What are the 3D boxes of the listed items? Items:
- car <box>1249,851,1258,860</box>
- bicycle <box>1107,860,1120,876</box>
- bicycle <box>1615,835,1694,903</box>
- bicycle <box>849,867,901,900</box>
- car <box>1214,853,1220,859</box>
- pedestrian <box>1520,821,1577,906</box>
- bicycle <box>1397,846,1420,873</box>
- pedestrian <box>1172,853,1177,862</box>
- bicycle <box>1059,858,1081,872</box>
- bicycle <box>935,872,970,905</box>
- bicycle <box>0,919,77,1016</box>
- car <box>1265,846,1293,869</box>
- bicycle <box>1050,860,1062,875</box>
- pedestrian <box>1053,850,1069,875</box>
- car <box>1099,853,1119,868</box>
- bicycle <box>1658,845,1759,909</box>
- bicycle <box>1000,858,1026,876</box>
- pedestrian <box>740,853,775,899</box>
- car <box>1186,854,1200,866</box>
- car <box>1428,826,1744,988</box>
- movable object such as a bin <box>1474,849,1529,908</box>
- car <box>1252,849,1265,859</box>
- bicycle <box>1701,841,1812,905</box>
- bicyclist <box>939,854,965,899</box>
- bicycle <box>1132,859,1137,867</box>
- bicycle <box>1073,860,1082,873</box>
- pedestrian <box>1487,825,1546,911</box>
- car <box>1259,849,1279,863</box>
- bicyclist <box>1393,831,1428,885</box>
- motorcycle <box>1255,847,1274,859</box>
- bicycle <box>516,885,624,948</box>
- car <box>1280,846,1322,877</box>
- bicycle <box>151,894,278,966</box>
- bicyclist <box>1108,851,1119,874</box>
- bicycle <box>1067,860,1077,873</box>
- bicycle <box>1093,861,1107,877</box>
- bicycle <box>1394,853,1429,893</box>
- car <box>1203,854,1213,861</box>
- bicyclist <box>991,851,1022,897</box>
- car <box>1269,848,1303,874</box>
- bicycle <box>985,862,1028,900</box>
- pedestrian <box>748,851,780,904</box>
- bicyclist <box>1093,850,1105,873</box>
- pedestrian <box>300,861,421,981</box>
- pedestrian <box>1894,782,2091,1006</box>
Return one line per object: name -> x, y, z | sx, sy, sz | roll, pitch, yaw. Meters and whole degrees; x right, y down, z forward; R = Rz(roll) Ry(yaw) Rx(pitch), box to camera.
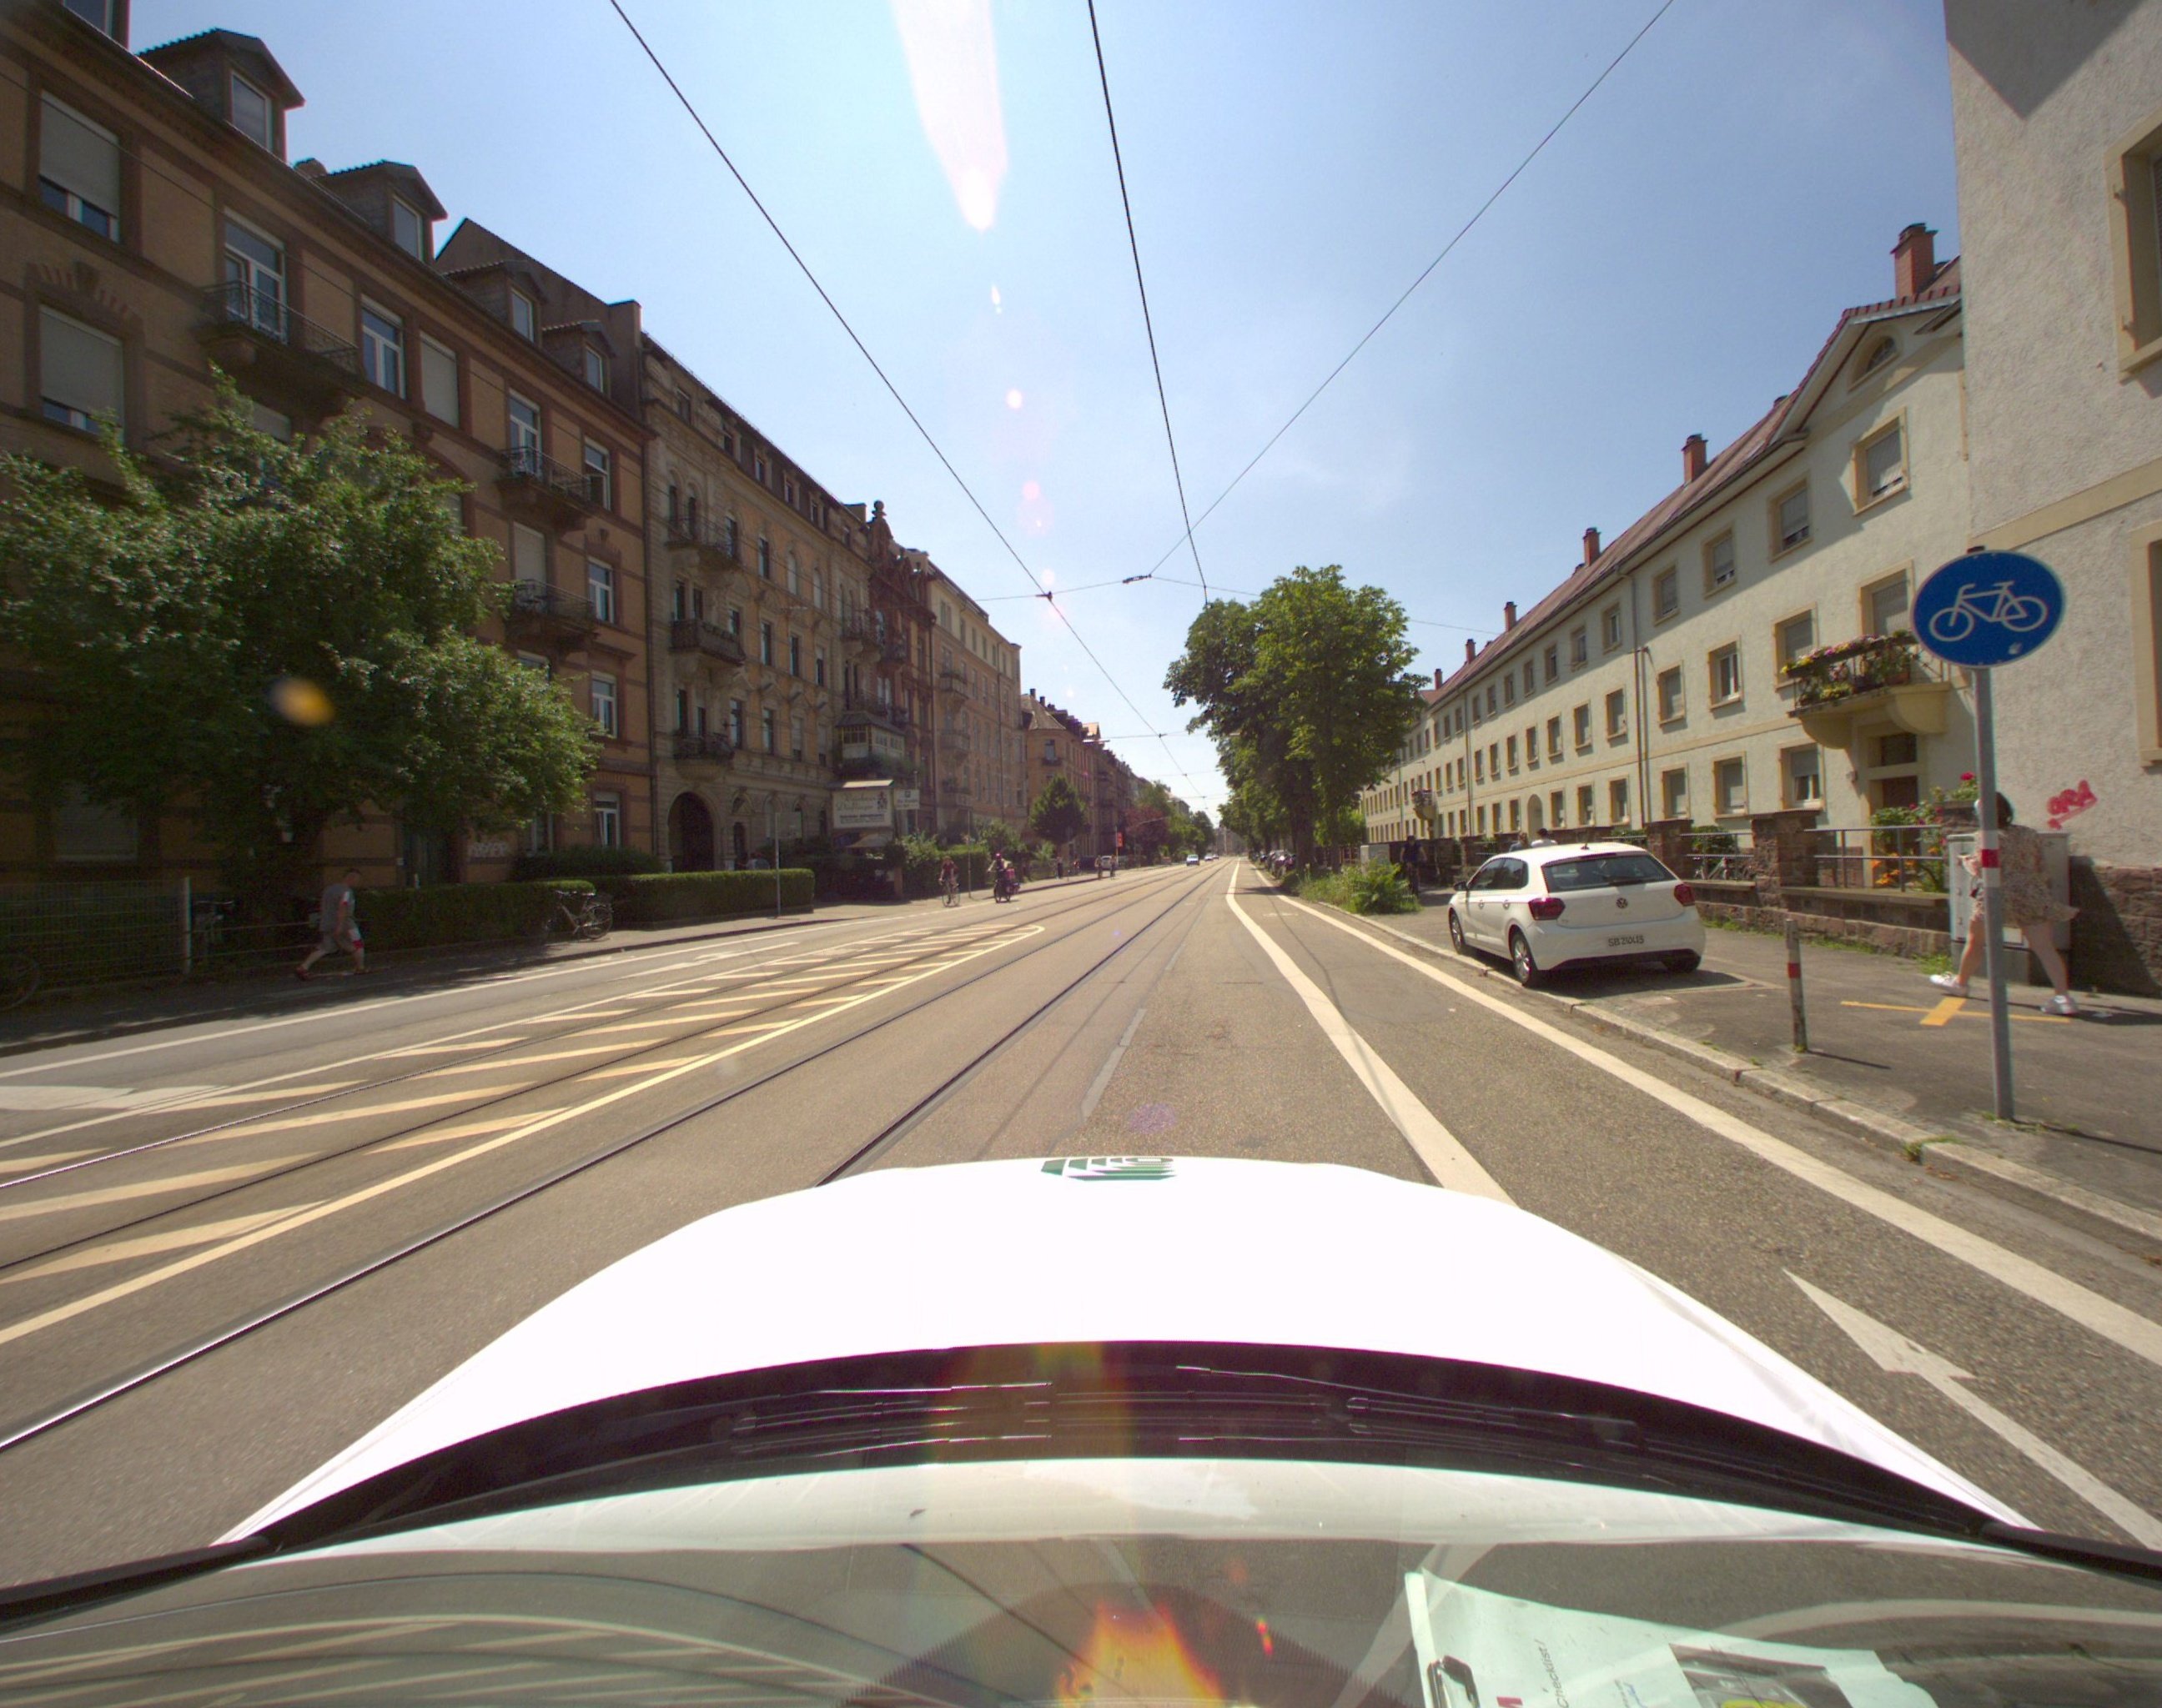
car -> 42.472, 0.300, 200.280 | 1.980, 2.035, 4.711 | -2, 0, 11
bicycle -> 2.331, 1.006, 58.060 | 0.577, 1.078, 1.896 | -3, 0, 11
bicycle -> 10.660, 0.255, 15.196 | 0.592, 1.175, 1.760 | -2, 0, 14
bicycle -> -7.876, 1.107, 31.192 | 1.860, 1.227, 0.569 | 0, 0, 8
car -> 37.196, 0.470, 222.491 | 1.675, 1.454, 3.760 | -2, 0, 11
pedestrian -> 9.684, 0.198, 16.889 | 0.693, 1.669, 0.758 | -5, -1, 10
bicycle -> 15.529, 0.262, 38.627 | 0.593, 1.209, 1.976 | -4, 0, 11
pedestrian -> 16.832, 0.702, 146.865 | 0.747, 1.629, 0.835 | -1, -1, 7
bicycle -> -0.867, 0.882, 65.819 | 1.692, 1.037, 0.553 | -2, 0, 15
bicycle -> -4.463, 1.190, 28.446 | 0.564, 1.038, 1.835 | -2, 0, 12
bicycle -> -12.582, 1.323, 9.150 | 0.456, 1.056, 1.570 | -2, 0, 14
car -> 15.229, 0.220, 62.576 | 1.933, 1.650, 4.898 | -2, 0, 14
bicycle -> -1.750, 0.966, 57.267 | 0.493, 0.987, 1.715 | 2, 1, 9
pedestrian -> -1.381, 0.593, 56.705 | 0.846, 1.723, 1.142 | 1, 0, 11
car -> 3.149, 0.746, 90.259 | 1.856, 1.600, 4.109 | -1, 0, 6
bicycle -> 11.392, 0.387, 14.865 | 0.524, 1.063, 1.868 | -2, 0, 6
bicycle -> -4.232, 0.811, 50.816 | 1.500, 1.043, 0.497 | -2, 0, 12
pedestrian -> -12.342, 0.850, 31.076 | 0.899, 1.700, 0.829 | -2, 0, 38
car -> 15.303, 0.832, 110.884 | 1.674, 1.449, 4.012 | -2, 0, 11
car -> 5.797, 0.520, 10.036 | 1.766, 1.410, 4.168 | -6, -1, 10
movable object such as a bin -> 9.067, 0.514, 17.581 | 0.693, 1.186, 1.039 | -5, -1, 10
car -> 27.911, 0.013, 127.986 | 1.763, 1.501, 4.317 | -3, 0, 10
bicycle -> 12.203, 0.315, 14.789 | 0.594, 1.063, 1.845 | -2, 0, 6
bicyclist -> -4.483, 0.777, 28.418 | 0.559, 1.515, 0.895 | -2, 0, 11
bicycle -> 6.484, 1.068, 98.881 | 0.451, 1.003, 1.810 | -2, 0, 8
bicycle -> -0.263, 0.968, 64.322 | 0.436, 0.983, 1.715 | -2, 0, 9
pedestrian -> 8.881, 0.283, 16.637 | 0.693, 1.669, 0.871 | -5, -1, 10
car -> 21.093, 0.166, 91.490 | 1.759, 1.426, 4.874 | -2, 0, 9
bicyclist -> 9.151, 0.108, 22.626 | 0.706, 1.452, 1.014 | -2, 0, 13
motorcycle -> 24.035, -0.097, 106.730 | 0.873, 1.540, 2.295 | -2, 0, -36
bicycle -> -10.289, 1.226, 16.480 | 0.633, 1.093, 1.938 | 0, 0, 14
car -> 11.678, 0.373, 43.464 | 1.647, 1.515, 4.009 | -2, 0, 8
bicycle -> -12.840, 1.128, 12.077 | 1.635, 0.996, 0.497 | -2, 0, 12
bicyclist -> 2.311, 0.605, 58.079 | 0.589, 1.544, 0.955 | -3, 0, 11
bicycle -> -0.669, 0.955, 62.314 | 0.436, 0.983, 1.715 | -2, 0, 9
bicycle -> 1.333, 1.050, 58.032 | 0.625, 1.078, 1.881 | -3, 0, 11
bicycle -> 9.159, 0.501, 22.602 | 0.598, 1.051, 1.829 | -2, 0, 13
car -> 26.448, 0.739, 169.842 | 1.744, 1.424, 4.013 | -3, 0, 11
bicyclist -> -2.721, 0.711, 29.904 | 0.802, 1.629, 0.984 | -2, 0, 11
car -> 13.022, 0.411, 51.920 | 1.722, 1.552, 4.465 | -2, 0, 9
bicycle -> -2.702, 0.982, 29.941 | 0.802, 1.271, 2.559 | -2, 0, 12
pedestrian -> -11.612, 0.845, 29.806 | 0.820, 1.857, 0.868 | -2, 0, -37
bicyclist -> 1.294, 0.551, 57.980 | 0.630, 1.584, 1.031 | -3, 0, 11
pedestrian -> -10.839, 0.974, 12.281 | 0.865, 1.700, 1.018 | -2, 0, 17
pedestrian -> 7.259, 0.307, 6.532 | 0.693, 1.669, 0.758 | -2, 0, 9
